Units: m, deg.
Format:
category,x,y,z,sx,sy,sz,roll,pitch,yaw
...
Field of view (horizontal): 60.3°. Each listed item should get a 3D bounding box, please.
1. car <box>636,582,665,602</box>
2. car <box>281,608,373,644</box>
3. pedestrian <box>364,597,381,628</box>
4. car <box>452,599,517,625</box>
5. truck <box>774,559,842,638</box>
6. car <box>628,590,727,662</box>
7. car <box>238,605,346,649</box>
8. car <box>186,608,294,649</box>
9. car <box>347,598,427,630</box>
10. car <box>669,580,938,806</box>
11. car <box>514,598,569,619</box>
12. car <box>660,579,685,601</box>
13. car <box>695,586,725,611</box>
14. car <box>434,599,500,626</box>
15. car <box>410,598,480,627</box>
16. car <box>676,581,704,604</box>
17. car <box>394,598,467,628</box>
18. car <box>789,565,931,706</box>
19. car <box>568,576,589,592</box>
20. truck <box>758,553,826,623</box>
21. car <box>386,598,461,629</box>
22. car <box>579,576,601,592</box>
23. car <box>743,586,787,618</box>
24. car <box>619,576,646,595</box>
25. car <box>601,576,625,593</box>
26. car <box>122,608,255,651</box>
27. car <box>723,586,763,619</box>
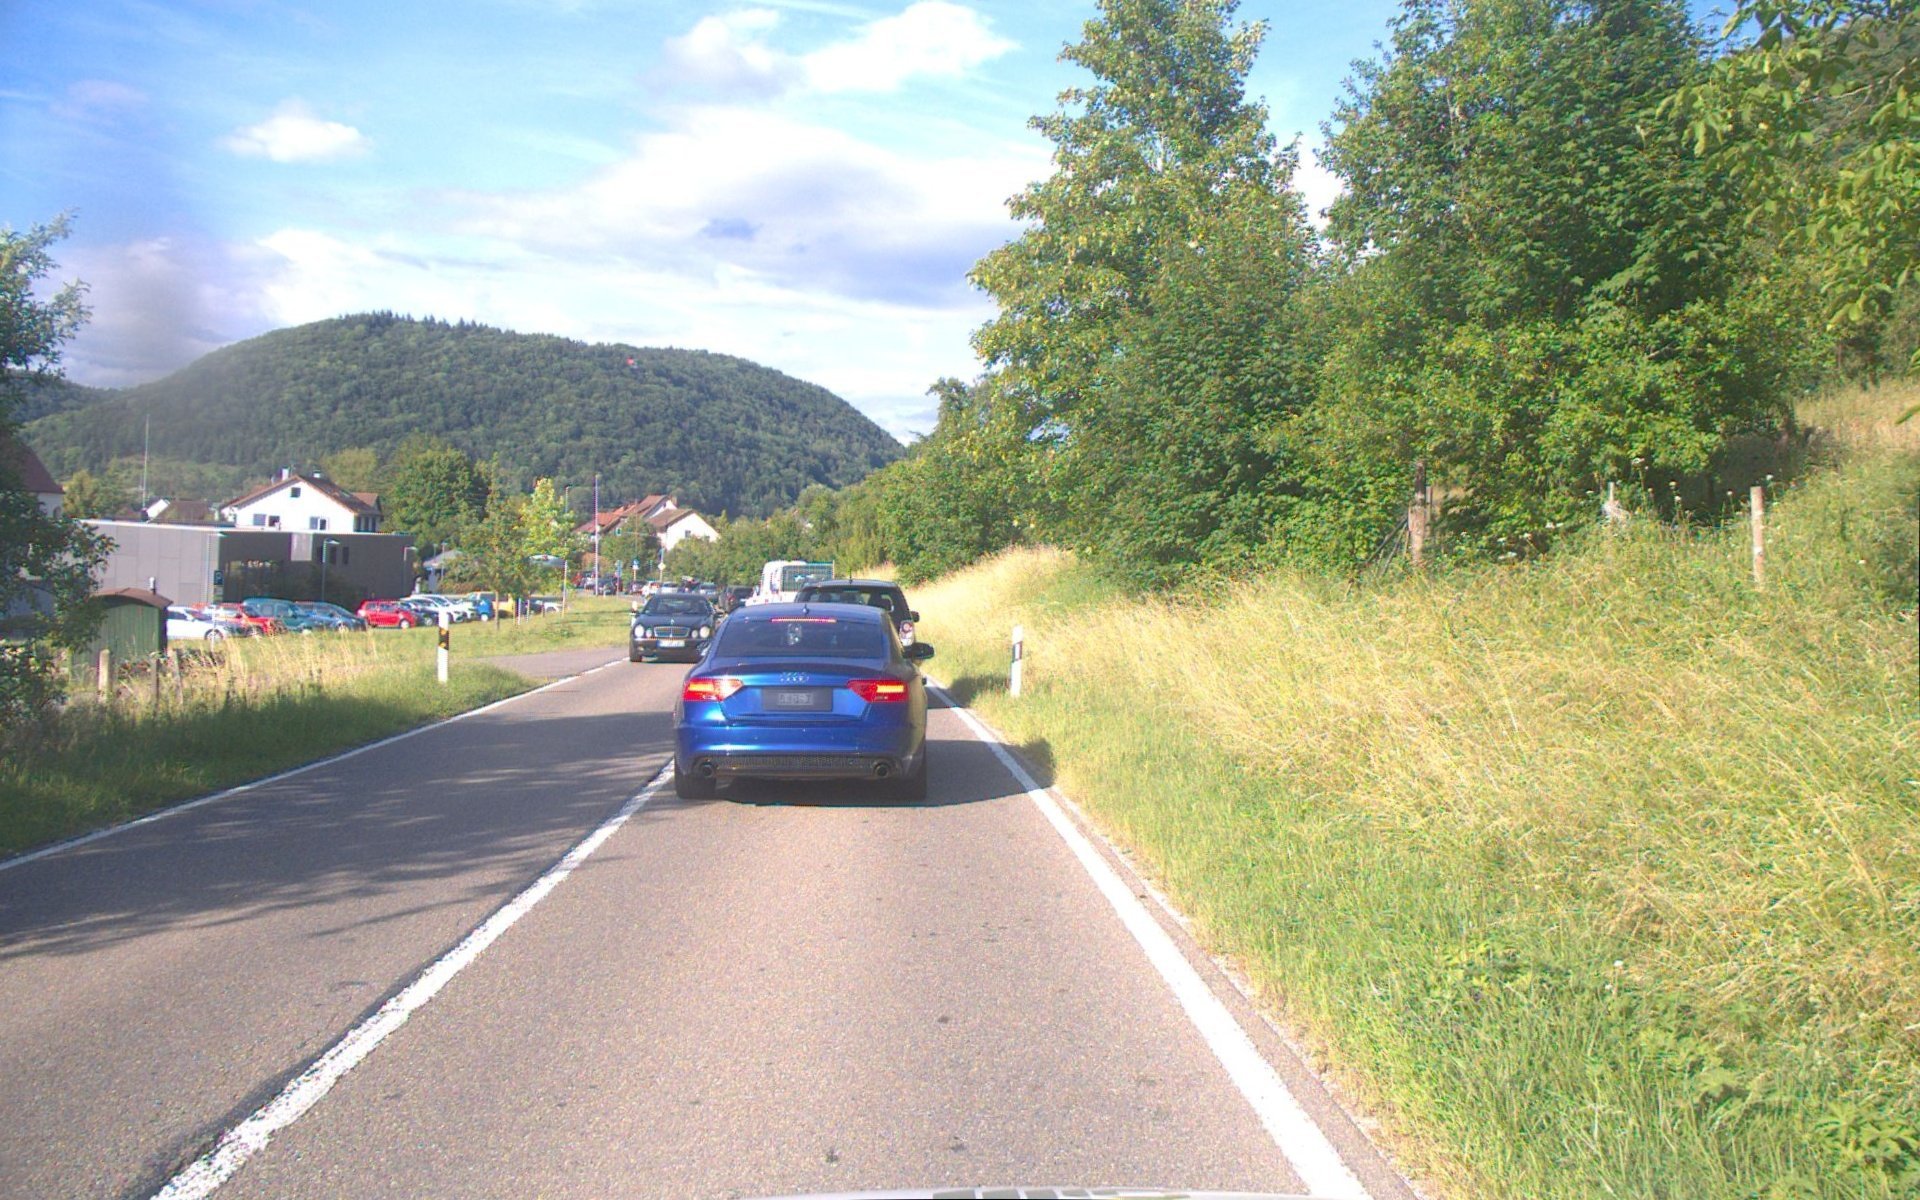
category,x,y,z,sx,sy,sz,roll,pitch,yaw
car,-27.553,-0.702,147.043,1.820,1.742,3.973,1,0,-22
car,-31.698,1.285,82.930,3.910,1.741,1.997,1,0,-7
pedestrian,-39.064,0.811,109.941,0.809,2.049,0.972,1,0,-4
car,-32.609,0.820,113.499,3.910,1.741,1.997,1,0,-7
truck,-5.457,-0.054,58.639,2.187,2.615,6.094,1,0,-7
car,-5.779,0.501,34.219,1.562,1.377,4.200,1,0,-4
car,-31.815,1.275,78.880,4.322,2.043,1.997,1,0,-7
car,-31.782,1.263,73.058,3.910,1.741,1.997,1,0,-7
car,-32.404,0.783,93.635,3.910,1.741,1.997,1,0,-7
car,-1.048,0.612,12.749,1.718,1.455,3.846,1,0,0
car,-32.385,0.648,128.063,3.910,1.606,1.750,1,0,-7
car,-23.683,-0.828,136.023,1.814,1.742,3.987,1,0,-13
car,-17.958,-0.130,118.629,1.814,1.742,3.987,1,0,-13
car,-33.062,0.809,110.923,3.910,1.741,1.997,1,0,-7
car,-32.708,0.802,105.151,3.910,1.741,1.997,1,0,-7
car,-20.660,-0.553,126.553,1.814,1.742,3.987,1,0,-13
car,-32.574,0.797,101.870,3.910,1.741,1.997,1,0,-7
car,-1.331,0.445,22.236,1.719,1.710,3.844,1,0,-3
car,-44.377,-1.828,192.359,1.820,1.742,3.973,1,0,-22
truck,-6.795,-0.446,66.321,2.189,2.615,6.691,1,0,-10
car,-31.847,0.799,98.261,3.910,1.741,1.997,1,0,-7
car,-41.444,-1.760,185.364,1.820,1.742,3.973,1,0,-22
car,-9.430,0.092,79.665,1.813,1.508,3.989,1,0,-11
car,-31.511,-1.365,159.099,1.820,1.742,3.973,1,0,-22
car,-36.298,-1.573,173.033,1.820,1.742,3.973,1,0,-22
car,-32.546,1.247,69.904,4.640,1.741,1.997,1,0,-7
car,-11.784,0.124,89.689,1.813,1.742,3.987,1,0,-13
